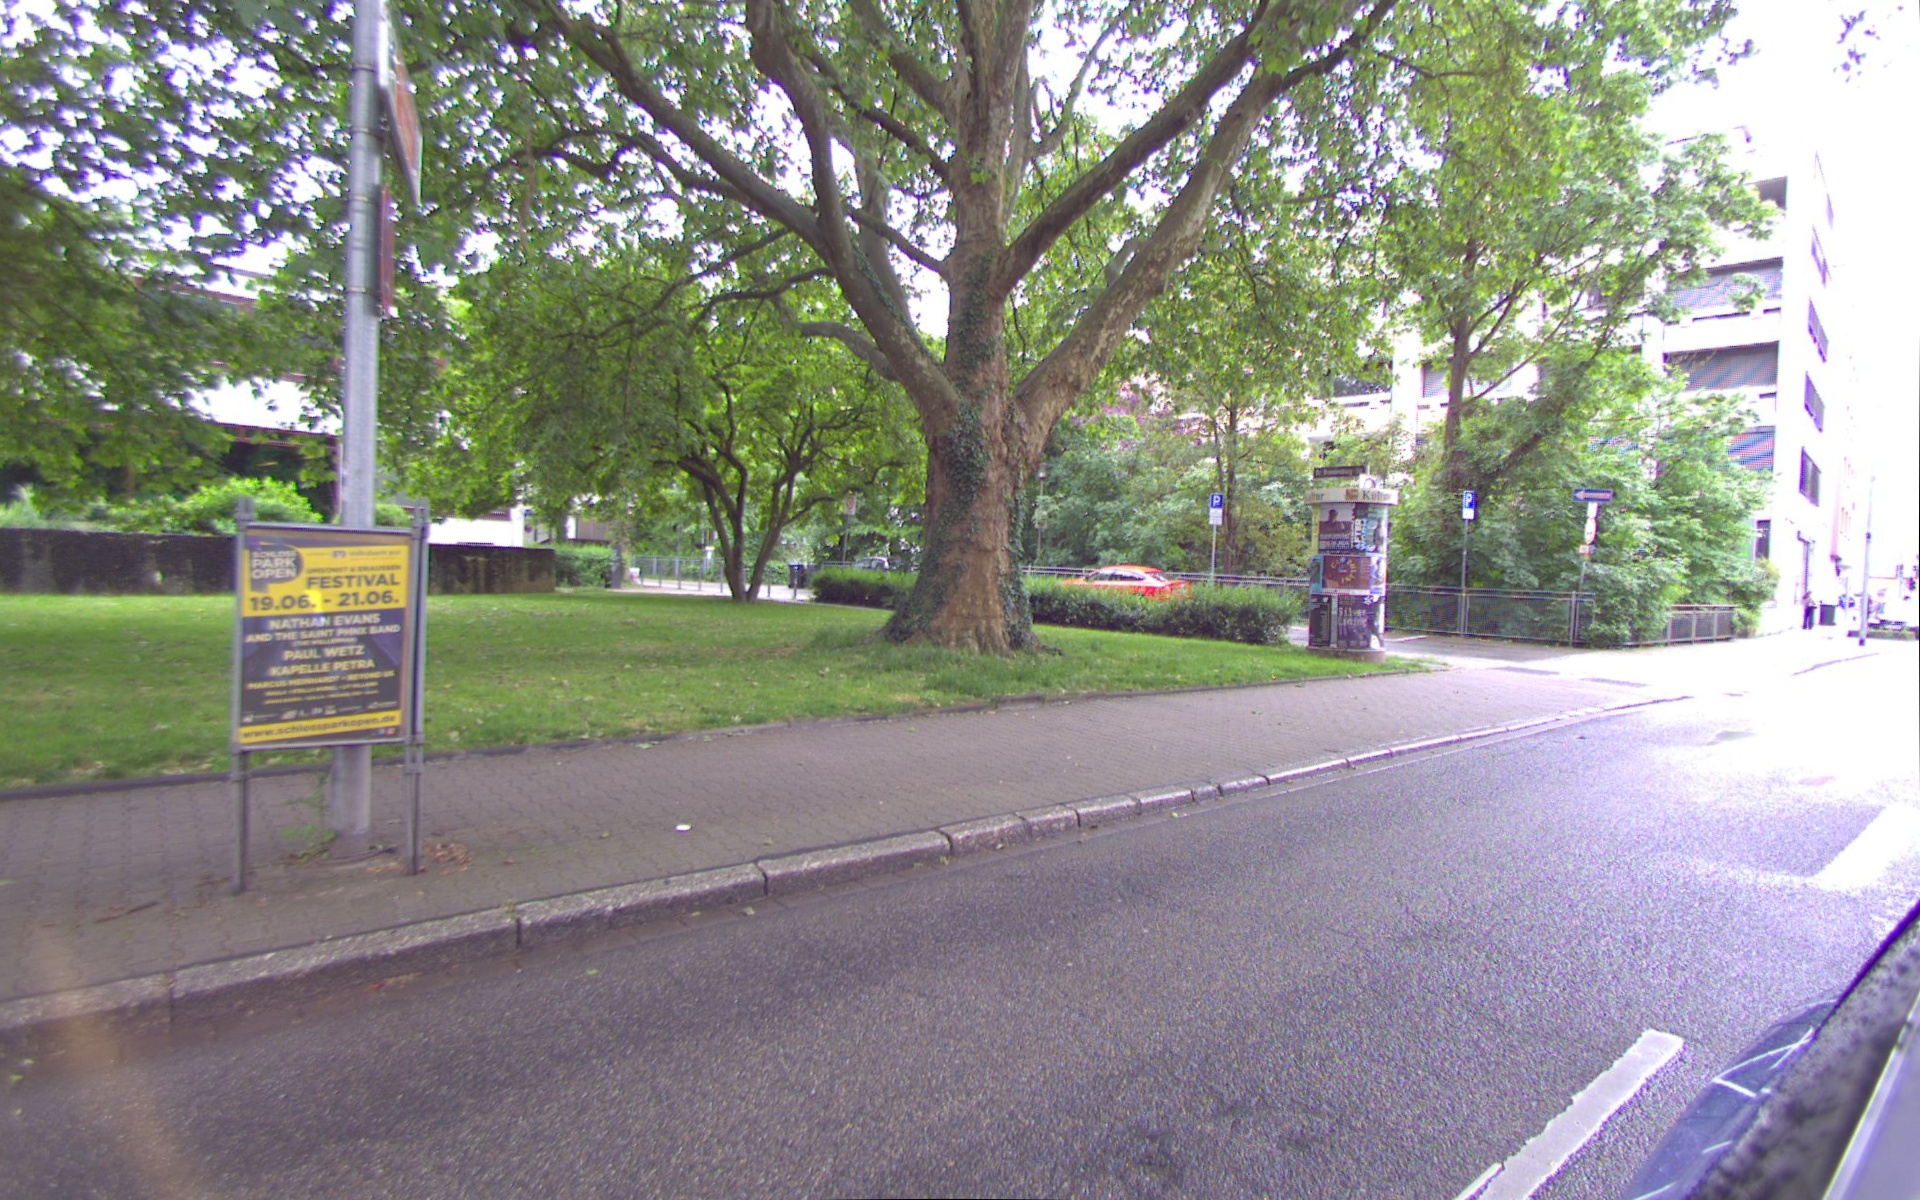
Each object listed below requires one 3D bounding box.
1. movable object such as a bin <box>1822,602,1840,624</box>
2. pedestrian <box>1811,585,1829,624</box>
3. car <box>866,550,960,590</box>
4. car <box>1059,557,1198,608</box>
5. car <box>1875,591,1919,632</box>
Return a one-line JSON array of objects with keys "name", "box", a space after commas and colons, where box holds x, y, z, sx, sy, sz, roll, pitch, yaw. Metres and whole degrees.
[{"name": "movable object such as a bin", "box": [41.915, 0.621, 48.711, 0.287, 1.054, 0.556, 0, 3, -41]}, {"name": "pedestrian", "box": [34.988, 0.179, 41.153, 0.473, 1.549, 0.480, 0, 0, -41]}, {"name": "car", "box": [-1.729, -1.090, 36.759, 3.460, 1.294, 1.426, 5, 4, 45]}, {"name": "car", "box": [4.858, -0.540, 29.507, 1.551, 1.294, 3.784, -1, 4, -44]}, {"name": "car", "box": [37.409, 0.455, 39.738, 3.617, 1.449, 1.681, 0, 5, -41]}]
